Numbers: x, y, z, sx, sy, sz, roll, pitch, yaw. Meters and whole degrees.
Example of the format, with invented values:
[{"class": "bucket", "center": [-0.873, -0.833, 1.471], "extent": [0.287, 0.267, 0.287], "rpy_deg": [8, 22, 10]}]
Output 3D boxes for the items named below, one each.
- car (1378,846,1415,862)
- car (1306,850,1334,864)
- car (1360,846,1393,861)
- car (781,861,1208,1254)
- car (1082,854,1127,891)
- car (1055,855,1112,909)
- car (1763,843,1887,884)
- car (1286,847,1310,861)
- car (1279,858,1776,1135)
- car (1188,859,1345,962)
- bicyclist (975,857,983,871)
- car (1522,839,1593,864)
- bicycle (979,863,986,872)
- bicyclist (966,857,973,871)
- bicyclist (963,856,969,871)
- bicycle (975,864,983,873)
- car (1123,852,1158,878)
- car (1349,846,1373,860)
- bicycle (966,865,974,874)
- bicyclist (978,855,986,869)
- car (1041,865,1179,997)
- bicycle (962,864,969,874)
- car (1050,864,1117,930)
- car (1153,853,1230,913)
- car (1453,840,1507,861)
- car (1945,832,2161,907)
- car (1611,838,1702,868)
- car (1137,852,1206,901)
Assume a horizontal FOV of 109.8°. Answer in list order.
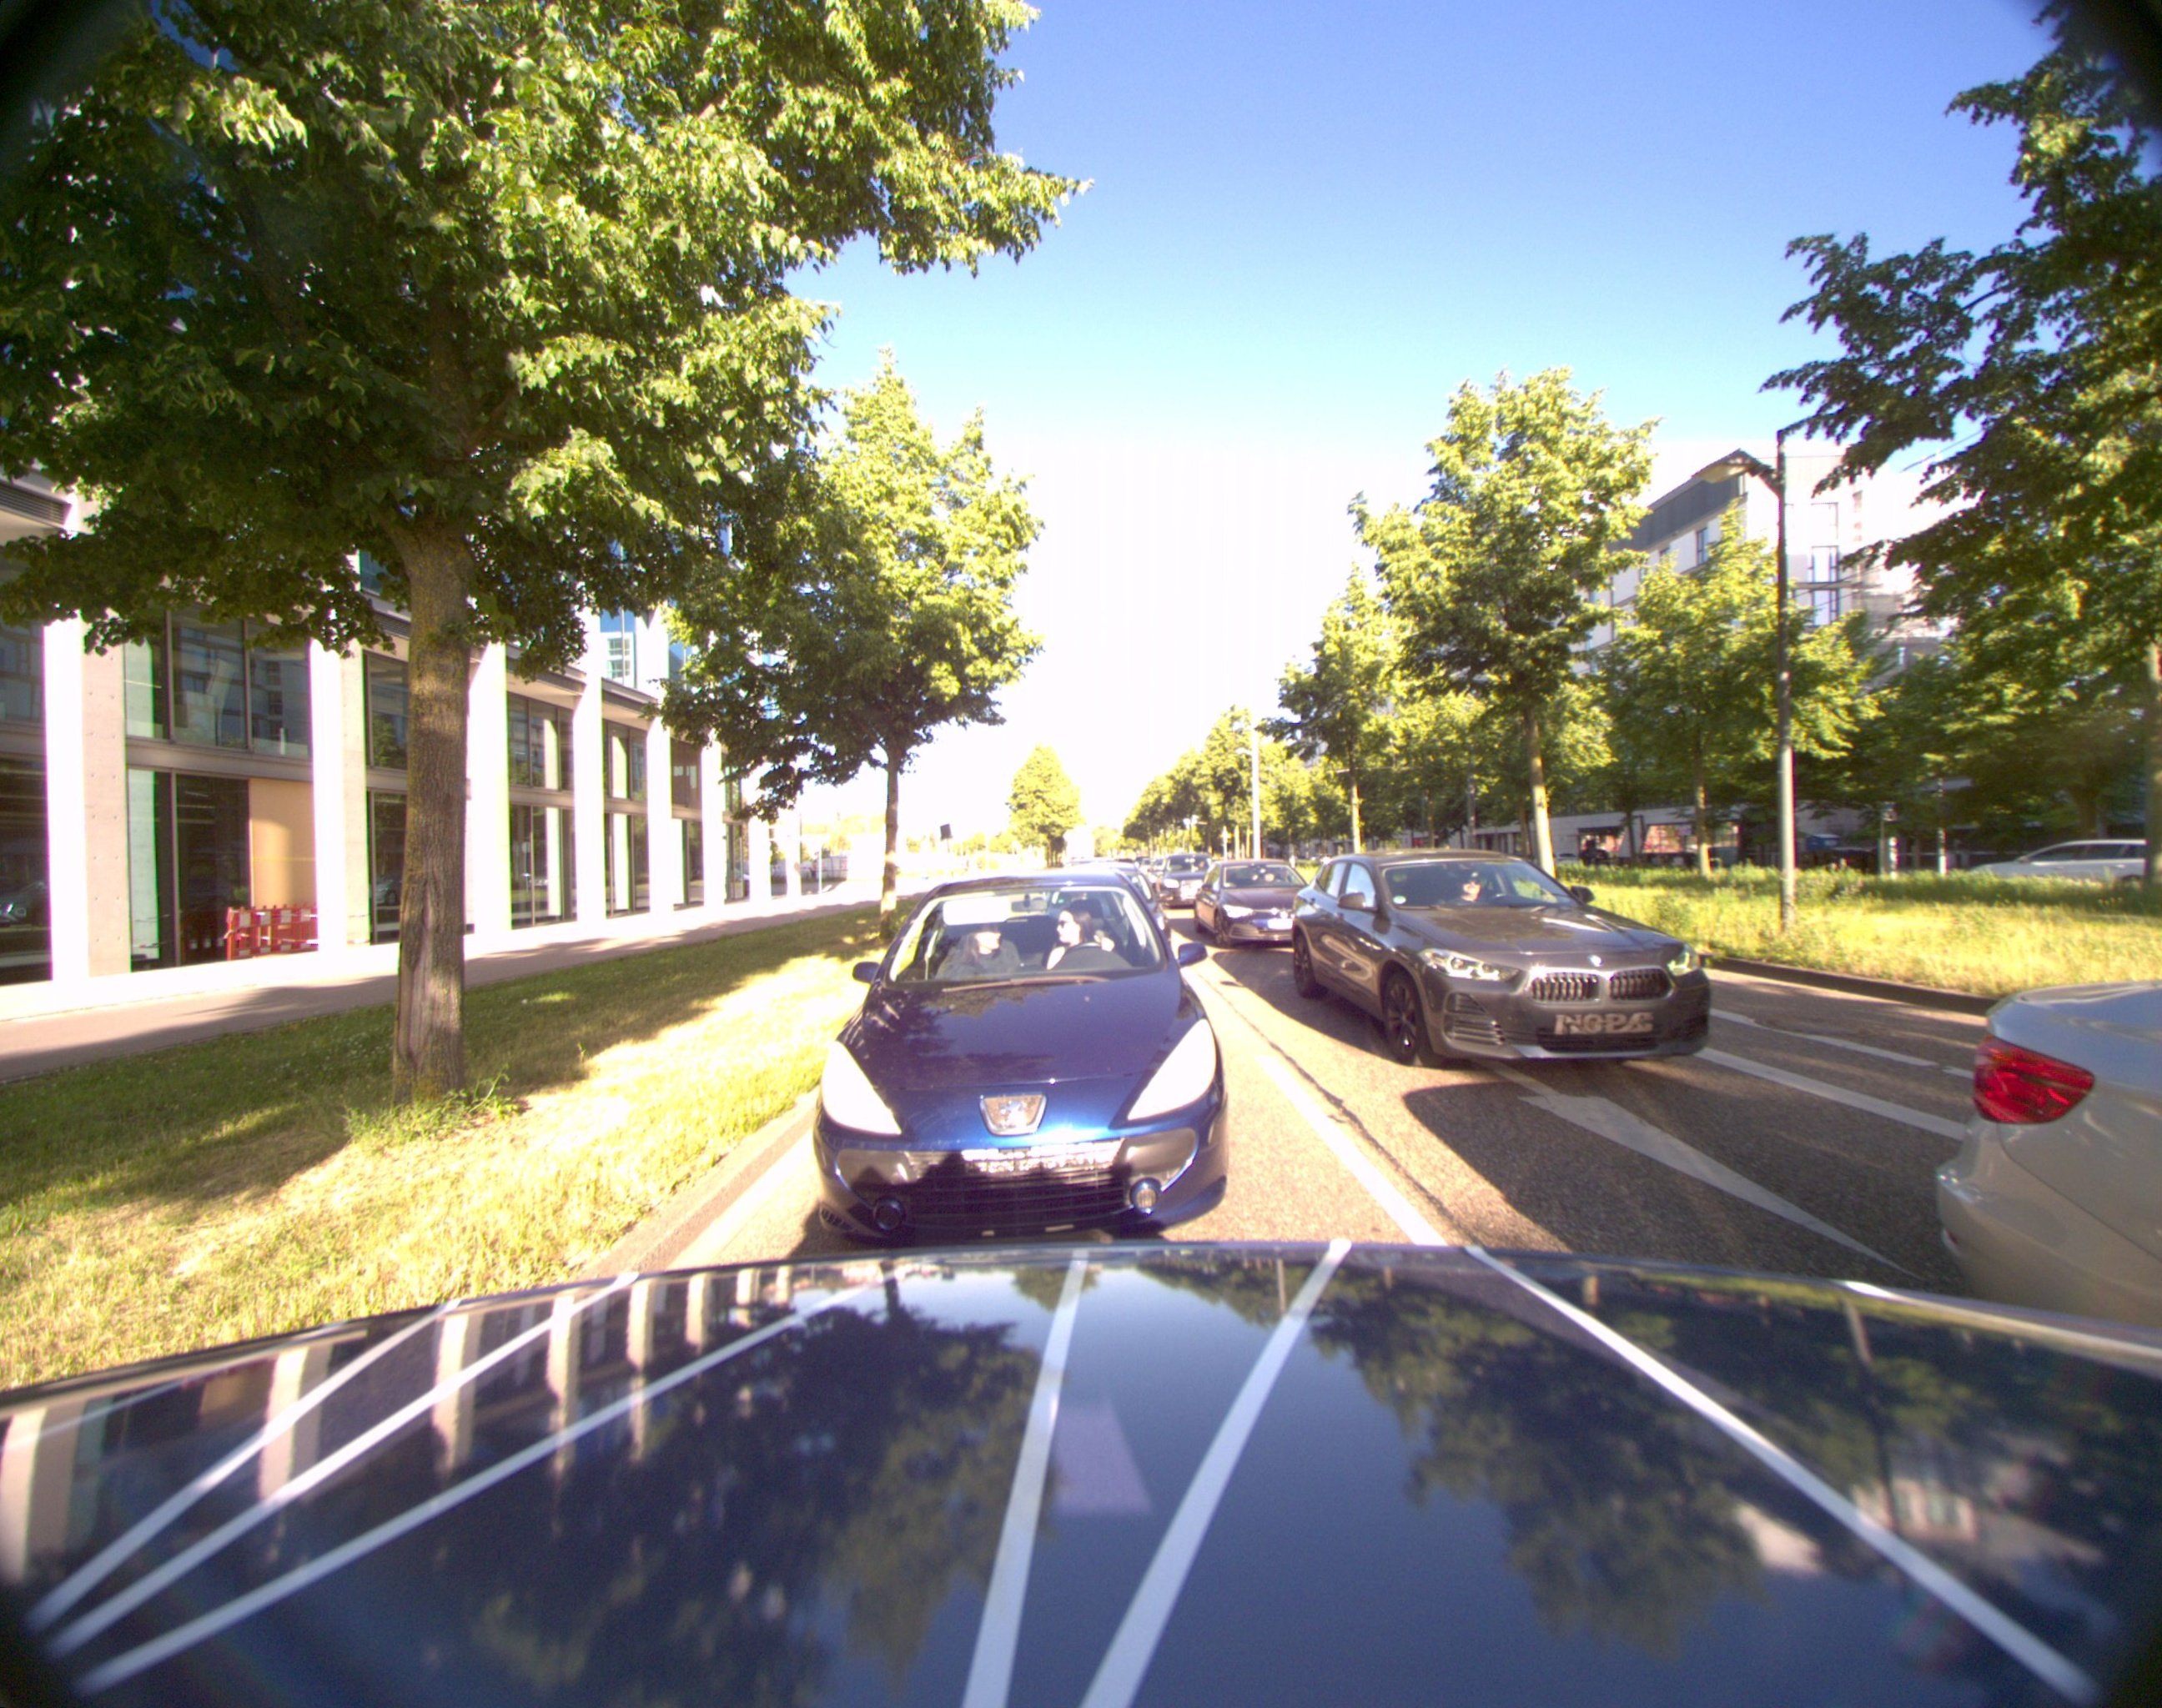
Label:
[{"class": "car", "center": [34.663, -0.006, 83.567], "extent": [2.012, 1.689, 4.791], "rpy_deg": [-1, 0, -1]}, {"class": "car", "center": [24.709, 0.274, 78.661], "extent": [1.666, 1.384, 4.000], "rpy_deg": [-1, 0, 1]}, {"class": "car", "center": [34.694, -0.057, 89.374], "extent": [2.012, 1.689, 4.791], "rpy_deg": [-1, 0, -1]}, {"class": "car", "center": [-0.323, 0.842, 4.958], "extent": [1.686, 1.513, 3.785], "rpy_deg": [-1, 0, 1]}, {"class": "car", "center": [1.088, 0.855, 37.549], "extent": [2.012, 1.689, 4.791], "rpy_deg": [-1, 0, -1]}, {"class": "car", "center": [0.104, 0.845, 25.044], "extent": [1.705, 1.591, 3.785], "rpy_deg": [-1, 0, 1]}, {"class": "car", "center": [34.237, 0.424, 35.125], "extent": [1.858, 1.739, 4.000], "rpy_deg": [-1, 0, 1]}, {"class": "car", "center": [29.060, -0.001, 101.689], "extent": [1.858, 1.719, 4.792], "rpy_deg": [-1, 0, 1]}, {"class": "car", "center": [3.082, 0.828, 6.363], "extent": [1.812, 1.513, 4.029], "rpy_deg": [-1, 0, 1]}, {"class": "car", "center": [3.047, 0.848, 13.392], "extent": [1.812, 1.445, 4.254], "rpy_deg": [-1, 0, 2]}, {"class": "bicyclist", "center": [-9.061, 0.861, 67.587], "extent": [0.534, 1.210, 0.507], "rpy_deg": [-2, 1, 1]}, {"class": "car", "center": [34.832, -0.175, 55.729], "extent": [2.012, 1.689, 4.791], "rpy_deg": [-1, 0, -3]}, {"class": "bicycle", "center": [-9.313, 1.259, 71.817], "extent": [0.464, 0.813, 1.344], "rpy_deg": [-2, 1, 1]}, {"class": "bicyclist", "center": [-10.473, 0.956, 71.643], "extent": [0.534, 1.282, 0.457], "rpy_deg": [-2, 1, 1]}, {"class": "bicyclist", "center": [-10.232, 0.870, 67.584], "extent": [0.448, 1.282, 0.418], "rpy_deg": [-2, 1, 1]}, {"class": "bicycle", "center": [-9.063, 1.284, 67.680], "extent": [0.464, 0.813, 1.344], "rpy_deg": [-2, 1, 1]}, {"class": "car", "center": [4.115, 0.714, 53.548], "extent": [2.012, 1.689, 4.791], "rpy_deg": [-1, 0, -1]}, {"class": "car", "center": [34.703, -0.168, 94.202], "extent": [1.601, 1.659, 3.743], "rpy_deg": [-1, 0, 1]}, {"class": "bicycle", "center": [-10.461, 1.424, 71.660], "extent": [0.464, 0.813, 1.344], "rpy_deg": [-2, 1, 1]}, {"class": "bicyclist", "center": [-9.349, 0.789, 71.765], "extent": [0.534, 1.282, 0.521], "rpy_deg": [-2, 1, 1]}, {"class": "car", "center": [0.374, 0.950, 11.258], "extent": [1.612, 1.463, 4.395], "rpy_deg": [-1, 0, 1]}, {"class": "bicycle", "center": [-10.247, 1.331, 67.494], "extent": [0.415, 0.813, 1.320], "rpy_deg": [-2, 1, 1]}, {"class": "car", "center": [0.082, 0.937, 18.103], "extent": [1.407, 1.326, 3.785], "rpy_deg": [-1, 0, 1]}, {"class": "car", "center": [3.192, 0.793, 22.686], "extent": [1.812, 1.581, 4.165], "rpy_deg": [-1, 0, 2]}, {"class": "car", "center": [34.628, -0.277, 66.067], "extent": [2.012, 1.689, 4.791], "rpy_deg": [-1, 0, -3]}, {"class": "car", "center": [23.141, 0.289, 17.190], "extent": [1.858, 1.528, 4.735], "rpy_deg": [-1, 0, 1]}, {"class": "car", "center": [34.419, -0.042, 45.604], "extent": [1.858, 1.674, 4.792], "rpy_deg": [-1, 0, 1]}, {"class": "car", "center": [3.377, 0.800, 29.223], "extent": [2.012, 1.689, 4.791], "rpy_deg": [-1, 0, -1]}]
